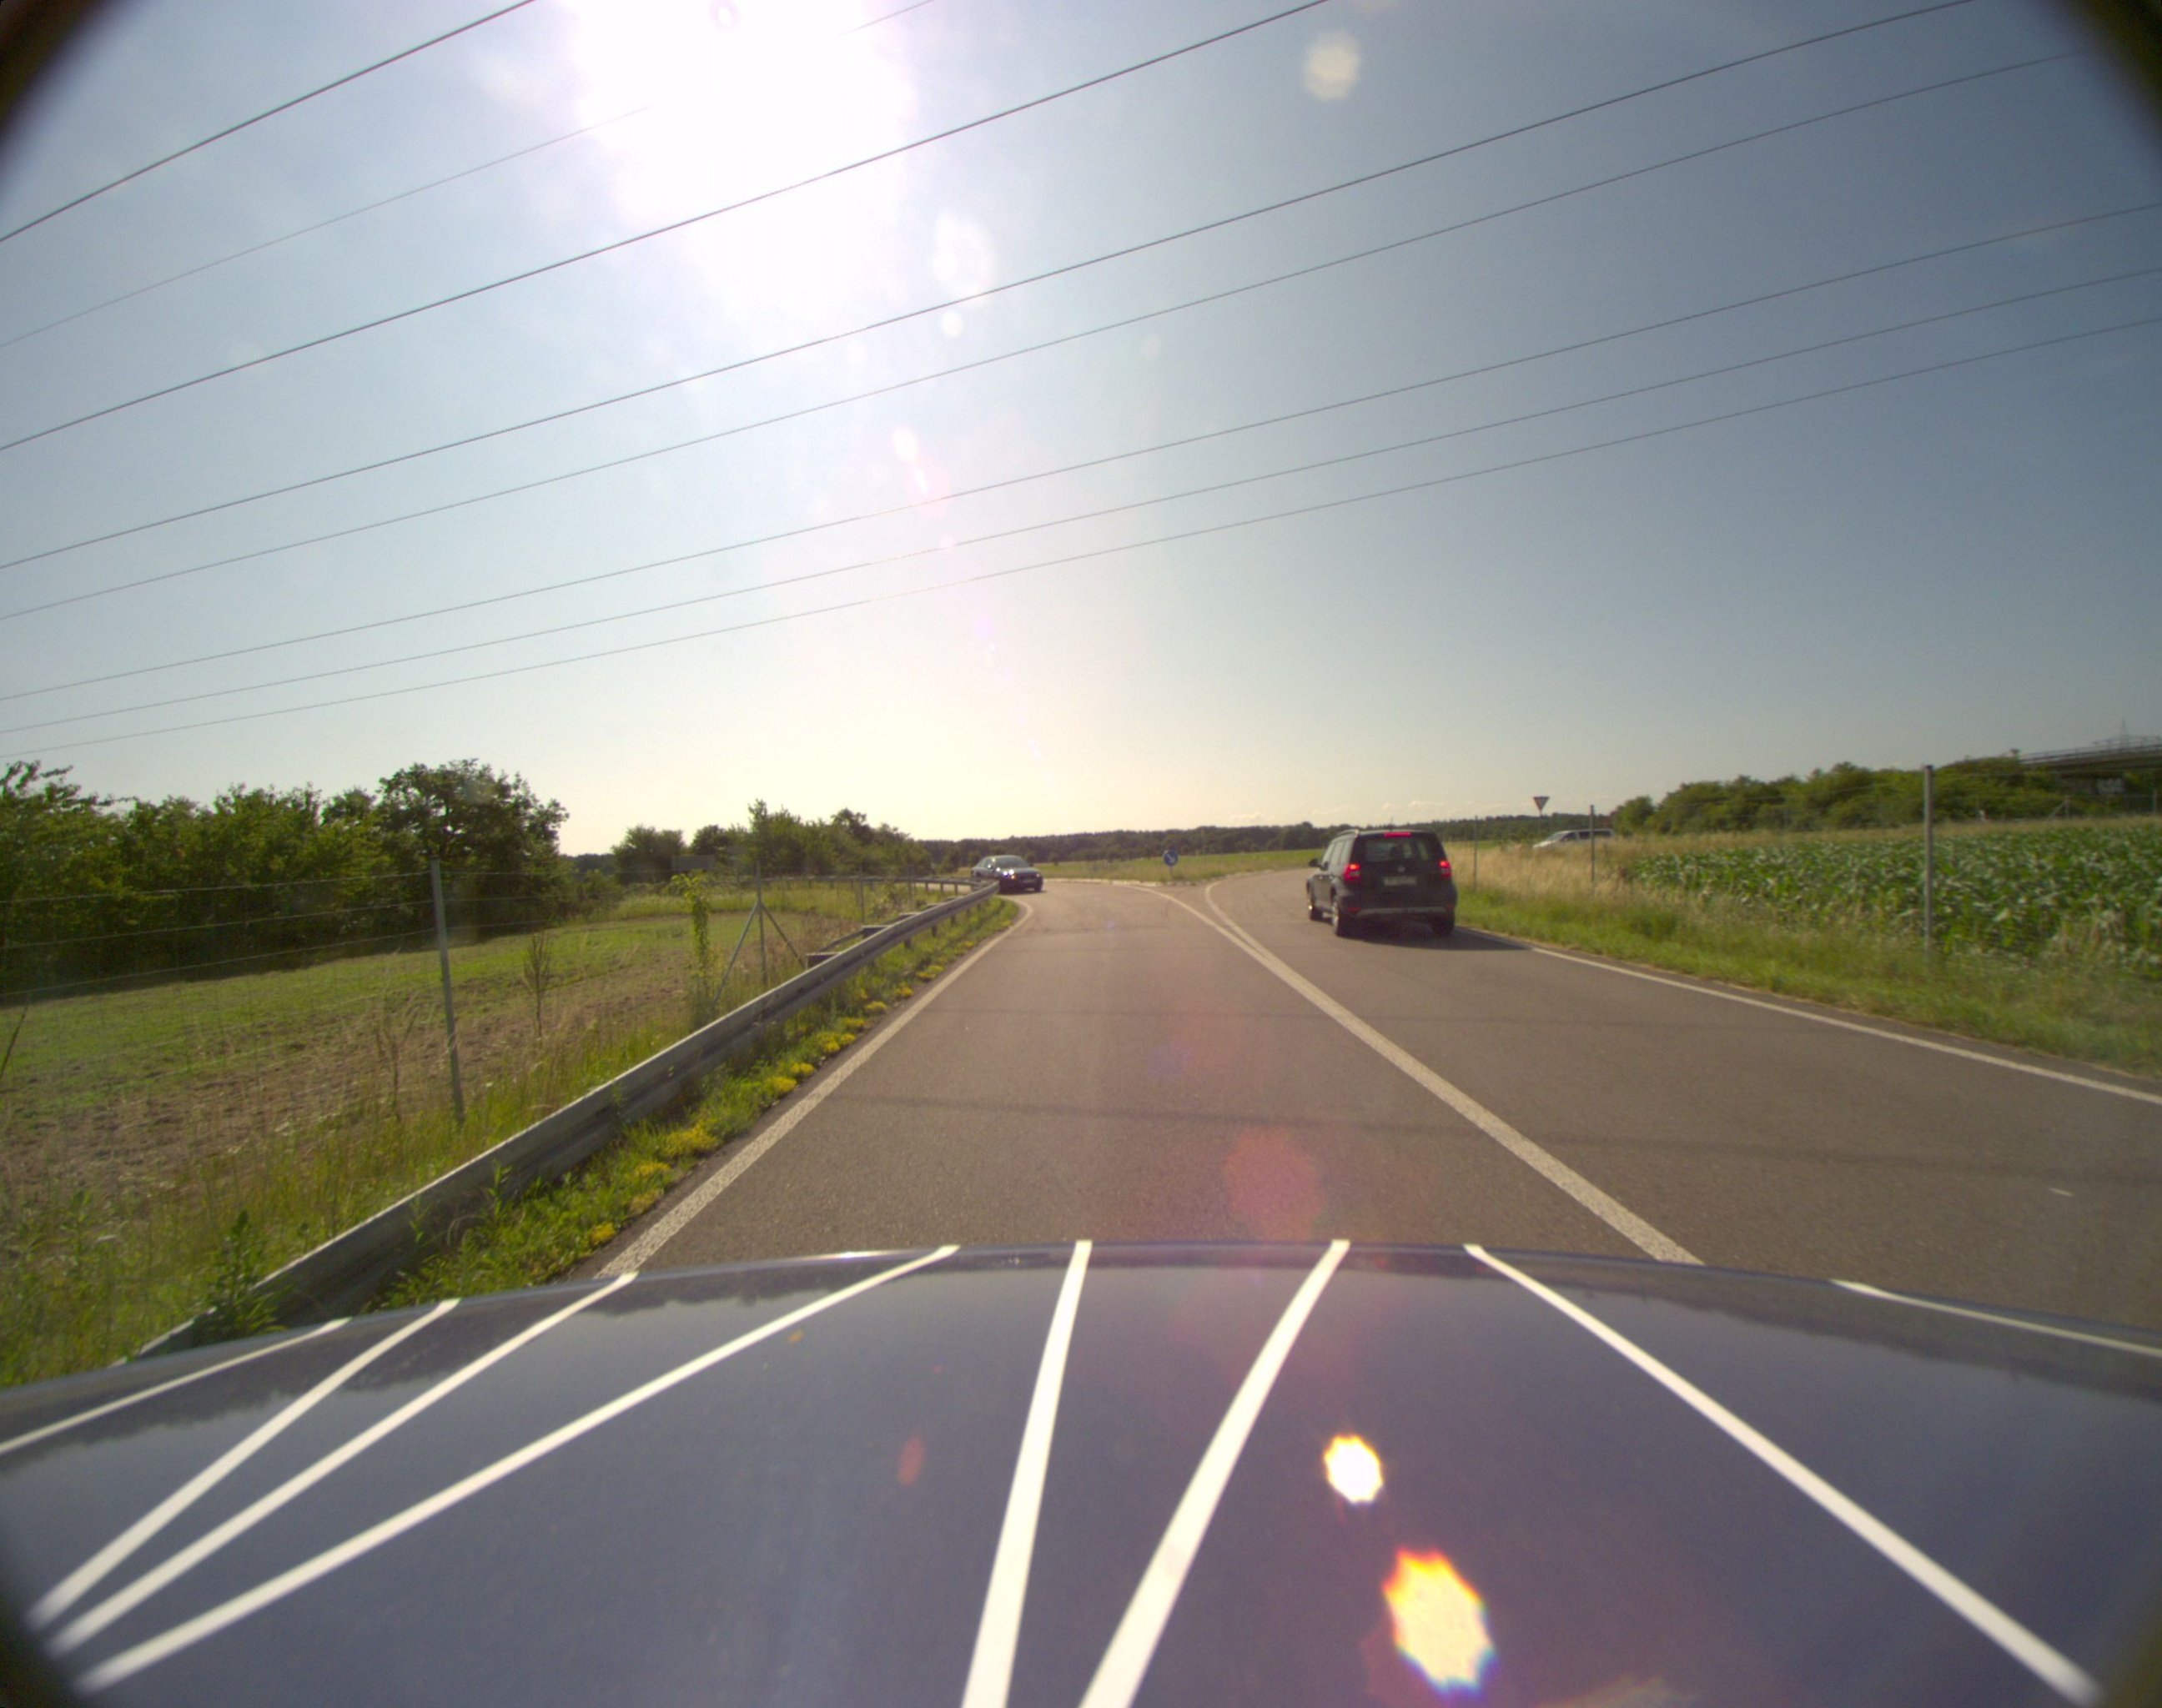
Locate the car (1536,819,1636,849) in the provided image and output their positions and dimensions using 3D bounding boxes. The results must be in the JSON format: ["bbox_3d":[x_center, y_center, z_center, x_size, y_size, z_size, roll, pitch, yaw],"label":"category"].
[{"bbox_3d":[34.229,-1.316,51.601,5.350,1.630,2.101,-4,1,-2],"label":"car"}]

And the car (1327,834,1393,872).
[{"bbox_3d":[12.097,-0.077,32.776,1.776,1.448,4.600,-2,1,31],"label":"car"}]

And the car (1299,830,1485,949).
[{"bbox_3d":[5.126,0.485,13.205,1.987,1.697,4.263,-1,1,8],"label":"car"}]

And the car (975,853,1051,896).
[{"bbox_3d":[-2.767,0.730,29.942,1.889,1.448,4.068,-4,2,-21],"label":"car"}]
